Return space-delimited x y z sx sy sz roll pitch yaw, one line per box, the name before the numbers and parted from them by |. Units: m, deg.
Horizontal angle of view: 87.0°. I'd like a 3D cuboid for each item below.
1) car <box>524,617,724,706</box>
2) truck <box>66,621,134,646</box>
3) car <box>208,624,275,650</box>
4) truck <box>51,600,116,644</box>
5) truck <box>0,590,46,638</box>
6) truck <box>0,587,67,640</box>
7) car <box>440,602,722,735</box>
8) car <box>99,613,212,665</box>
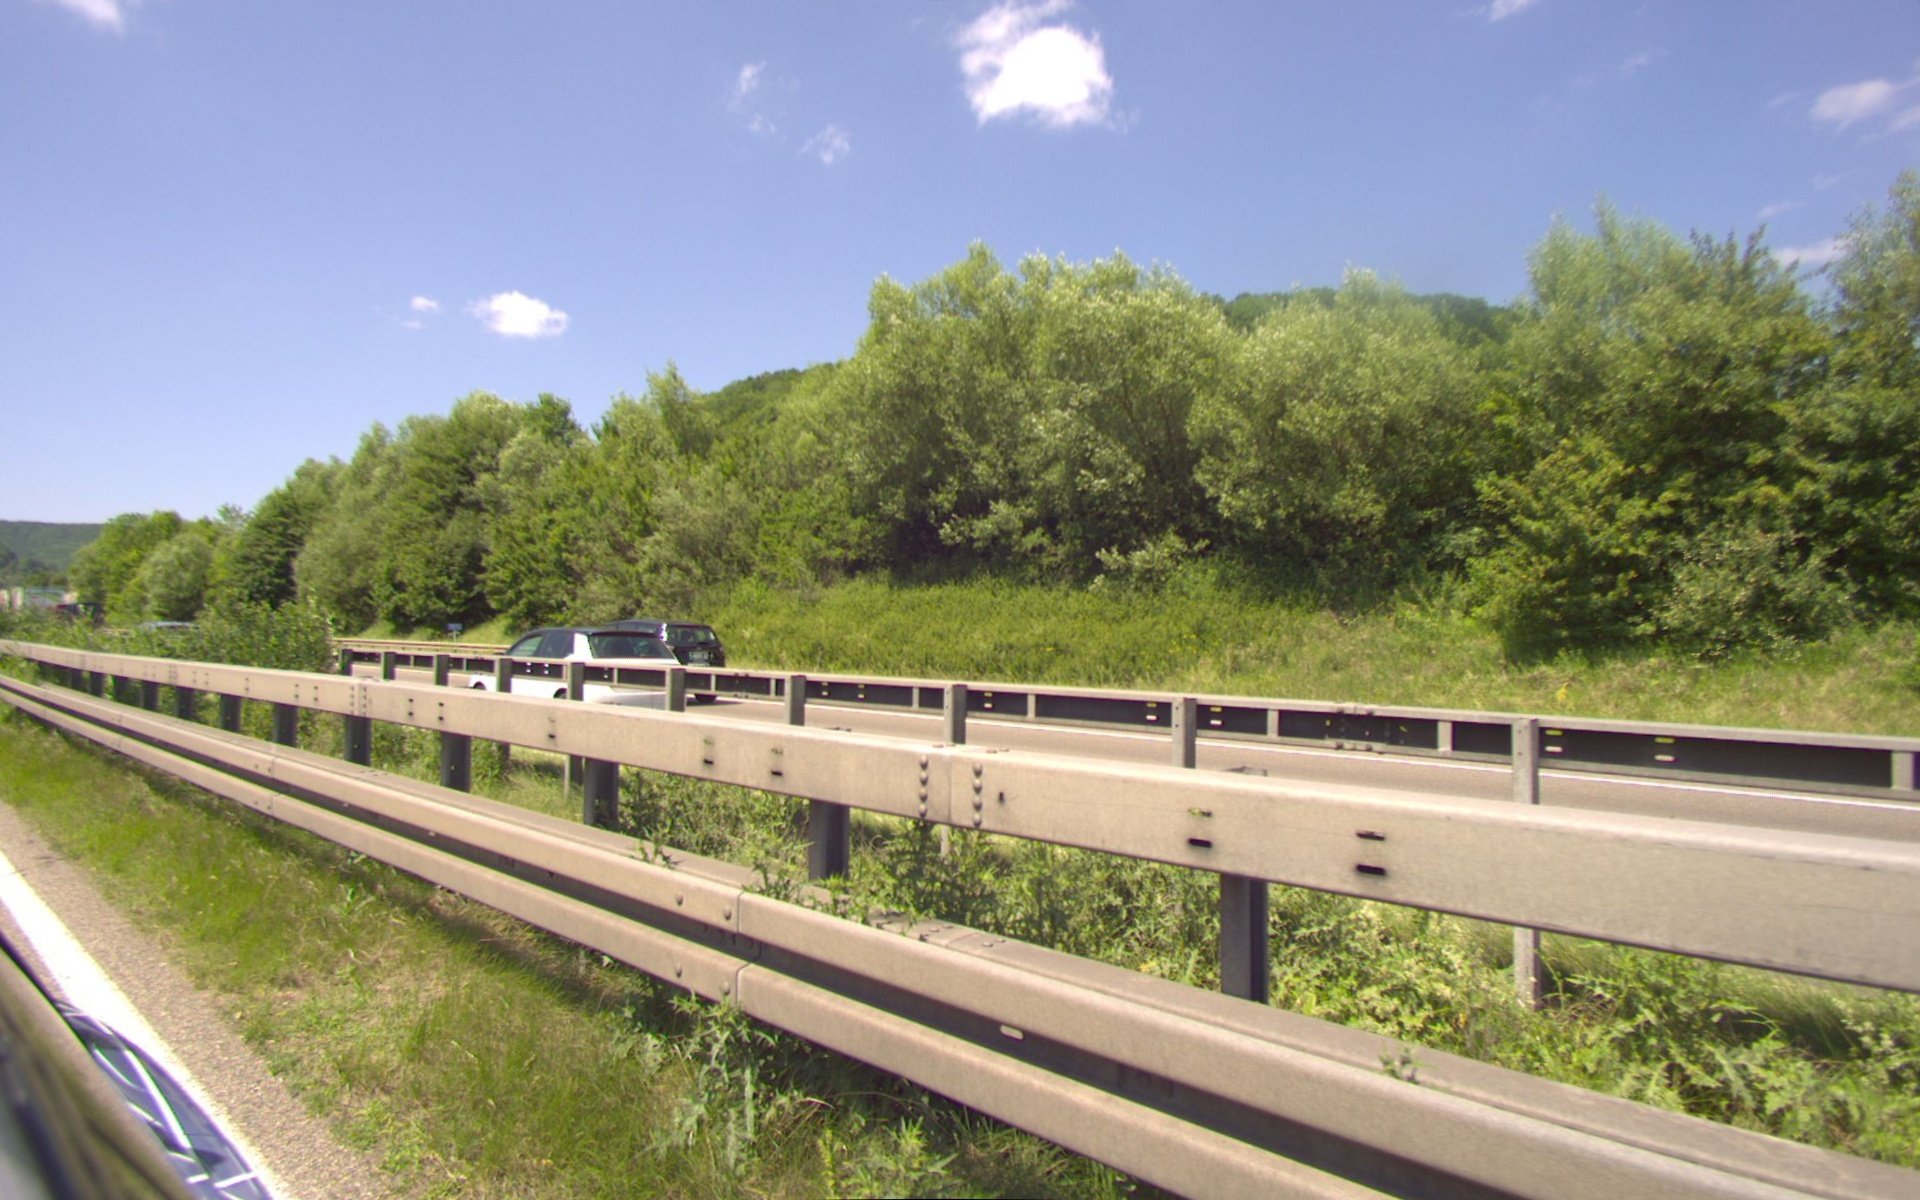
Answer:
car | -7.043 1.189 20.981 4.559 1.633 1.902 -1 -2 41
truck | -50.073 1.932 58.860 7.010 1.344 2.185 -1 -2 43
car | -38.768 1.968 54.580 4.103 1.366 1.974 -1 -2 39
truck | -55.543 1.363 64.029 7.968 2.608 2.271 -1 -1 43
truck | -82.830 1.245 88.647 10.165 4.037 2.839 -1 -1 41
truck | -75.518 1.133 82.427 9.026 4.011 2.839 -1 -3 41
car | -5.525 0.905 14.532 4.272 1.626 1.972 -1 -4 41
car | -25.201 1.171 31.645 4.675 1.530 1.972 -1 -2 41
